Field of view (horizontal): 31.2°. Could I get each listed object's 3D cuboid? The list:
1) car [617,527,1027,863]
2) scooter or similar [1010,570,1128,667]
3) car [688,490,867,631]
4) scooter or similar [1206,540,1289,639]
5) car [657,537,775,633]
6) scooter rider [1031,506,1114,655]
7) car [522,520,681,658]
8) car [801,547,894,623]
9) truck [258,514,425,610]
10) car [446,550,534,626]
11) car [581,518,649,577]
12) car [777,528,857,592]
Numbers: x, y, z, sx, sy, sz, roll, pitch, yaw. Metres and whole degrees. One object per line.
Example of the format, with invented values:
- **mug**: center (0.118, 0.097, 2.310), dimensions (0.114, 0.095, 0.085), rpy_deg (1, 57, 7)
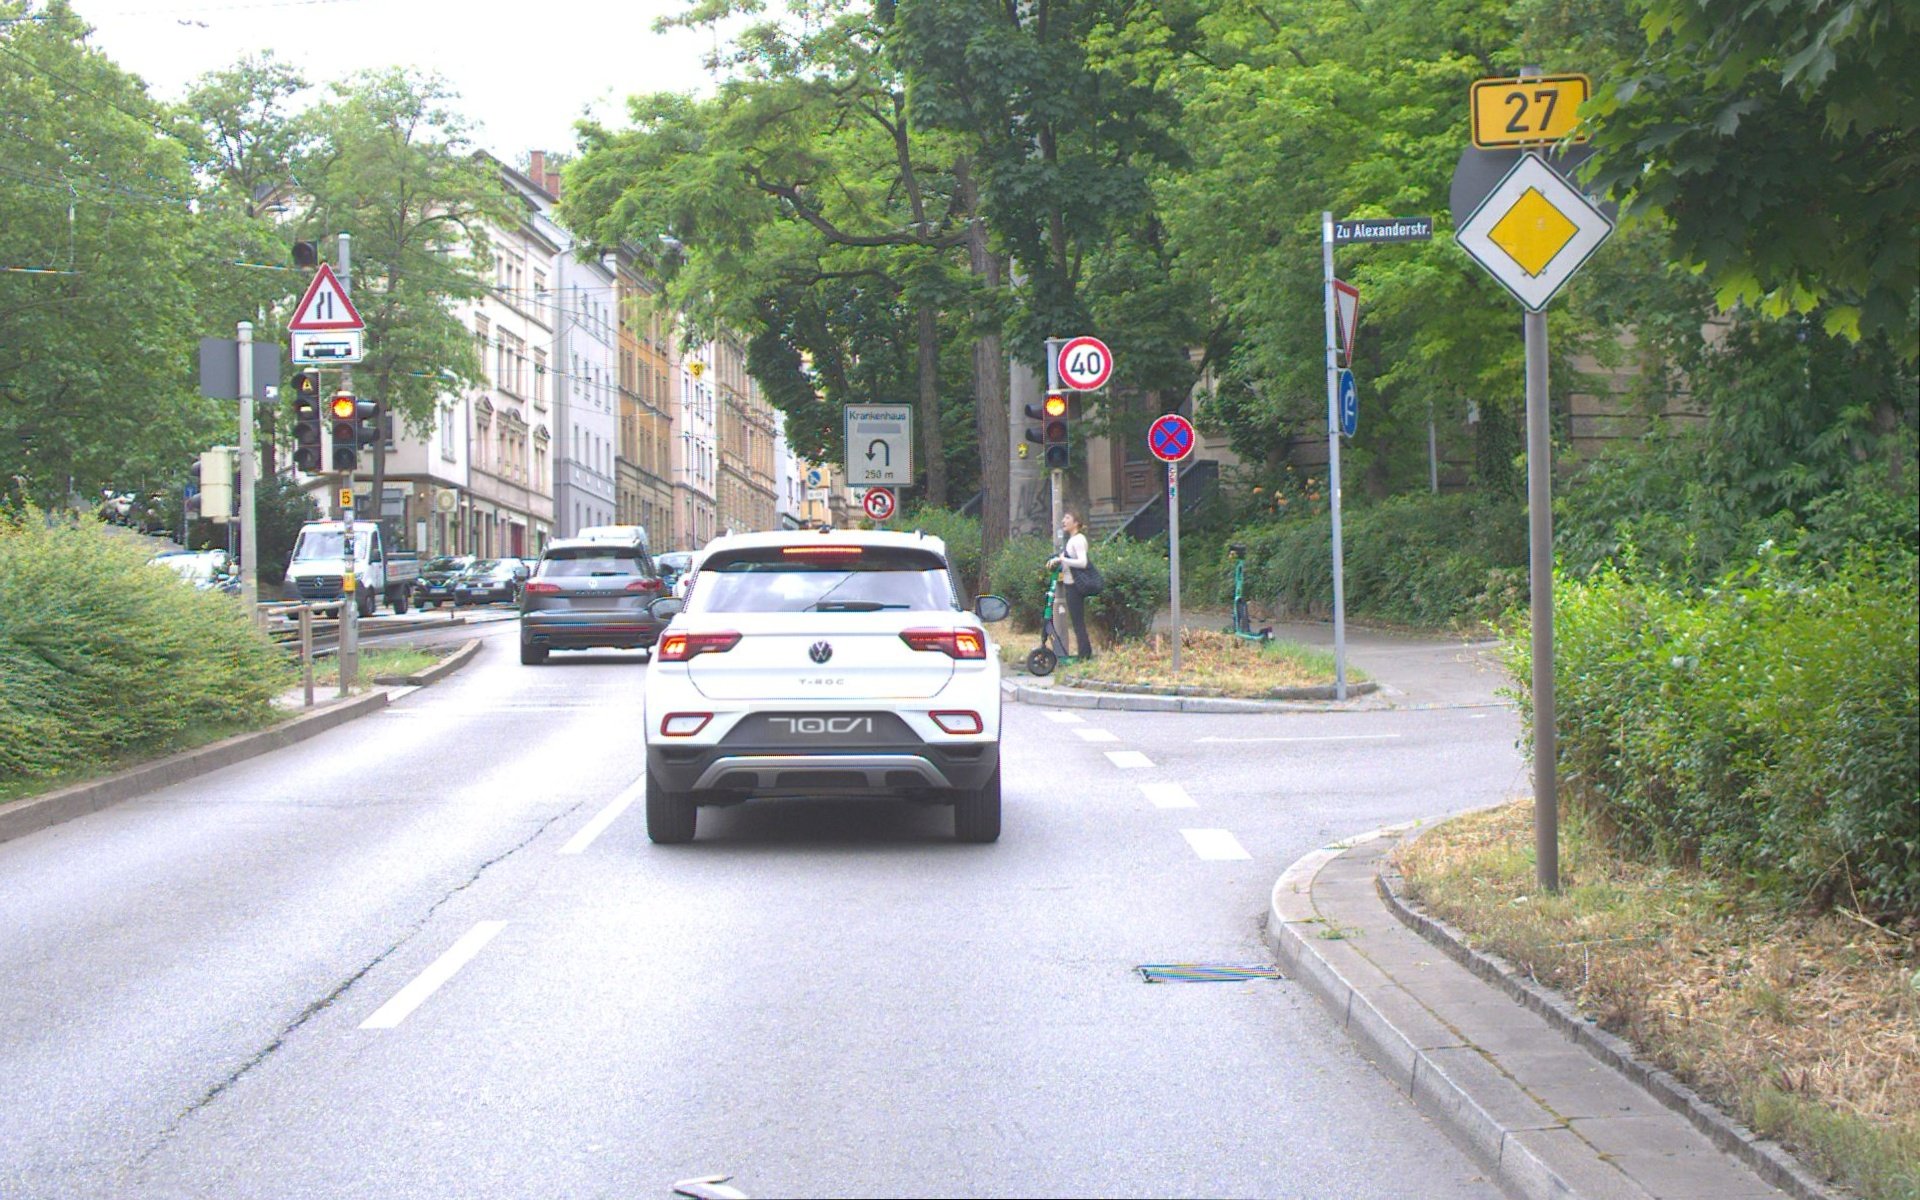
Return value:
- **car**: center (-0.759, 0.407, 18.298), dimensions (1.938, 1.561, 4.047), rpy_deg (0, 2, -3)
- **scooter or similar**: center (1.161, 0.195, 36.696), dimensions (1.187, 0.991, 0.531), rpy_deg (-2, 1, -4)
- **car**: center (-2.332, -0.454, 43.120), dimensions (1.902, 1.569, 3.835), rpy_deg (2, -2, -7)
- **scooter or similar**: center (3.294, -0.113, 39.470), dimensions (0.474, 1.096, 1.369), rpy_deg (-2, -1, -15)
- **car**: center (-4.355, -0.264, 61.883), dimensions (1.993, 1.617, 4.000), rpy_deg (-2, 0, -3)
- **scooter rider**: center (1.198, -0.209, 36.694), dimensions (0.777, 1.552, 0.532), rpy_deg (-2, 1, -5)
- **car**: center (-4.783, -0.183, 46.297), dimensions (1.839, 1.734, 4.001), rpy_deg (-2, 1, -2)
- **car**: center (-3.345, -0.450, 103.495), dimensions (2.422, 2.162, 6.033), rpy_deg (-2, 0, 1)
- **truck**: center (-14.925, -0.958, 83.386), dimensions (2.422, 2.162, 6.033), rpy_deg (2, 2, 5)
- **car**: center (-13.596, -0.330, 99.601), dimensions (1.993, 2.007, 4.000), rpy_deg (2, -2, -1)
- **car**: center (-12.179, -1.847, 121.452), dimensions (1.993, 2.007, 4.000), rpy_deg (-2, 1, -1)
- **car**: center (-5.099, -1.407, 123.462), dimensions (2.422, 2.162, 6.033), rpy_deg (-2, 0, 1)
